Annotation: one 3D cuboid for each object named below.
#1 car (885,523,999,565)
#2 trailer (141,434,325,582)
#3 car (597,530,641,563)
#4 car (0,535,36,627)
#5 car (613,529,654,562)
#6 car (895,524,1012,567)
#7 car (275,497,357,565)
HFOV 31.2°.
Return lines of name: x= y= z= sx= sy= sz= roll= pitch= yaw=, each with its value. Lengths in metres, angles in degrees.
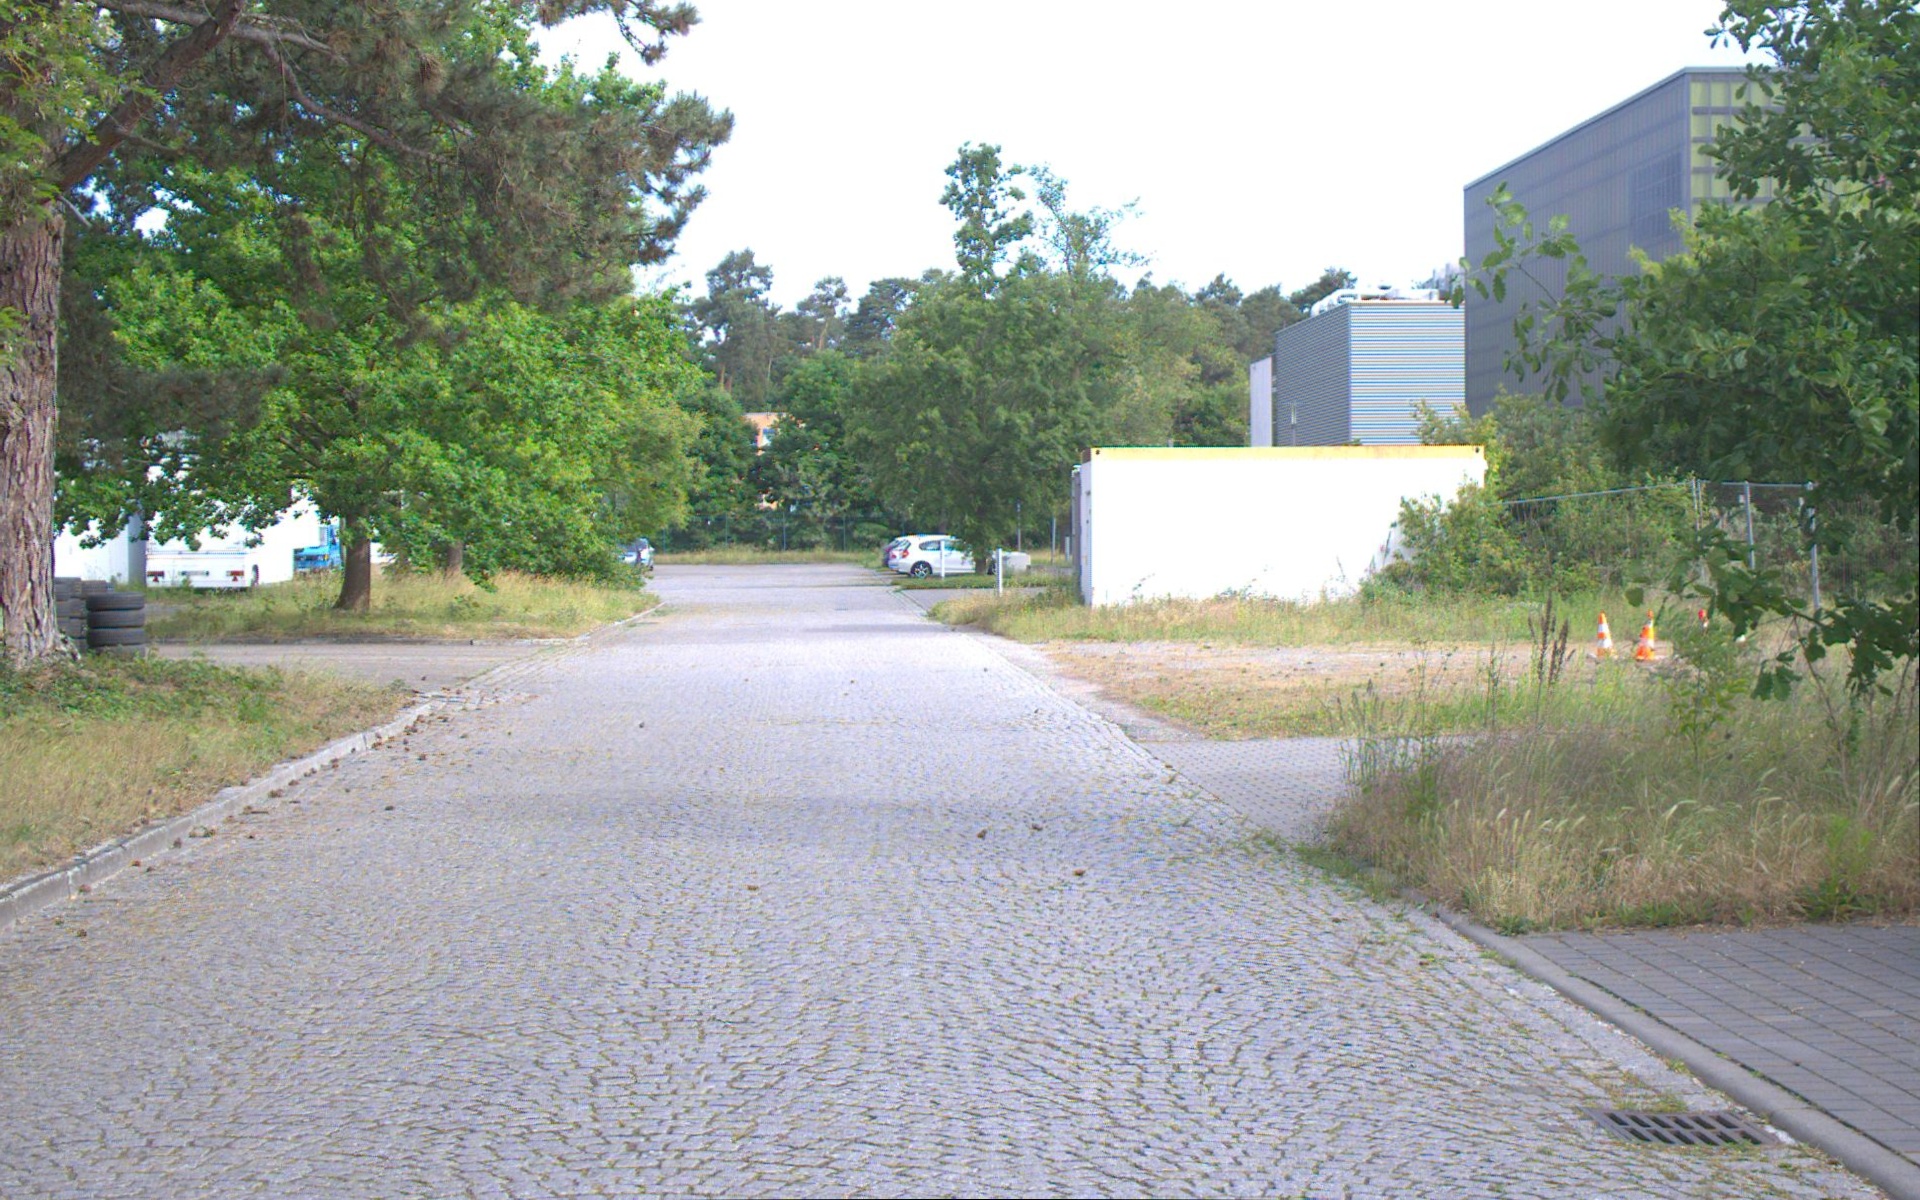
car: x=-0.653 y=-1.984 z=121.663 sx=3.986 sy=1.450 sz=1.697 roll=0 pitch=1 yaw=-2
trailer: x=-19.195 y=-2.407 z=91.426 sx=2.656 sy=3.693 sz=10.722 roll=0 pitch=1 yaw=0
car: x=-14.154 y=-2.240 z=142.947 sx=1.748 sy=1.359 sz=4.001 roll=0 pitch=1 yaw=-5
car: x=-15.906 y=-0.291 z=53.262 sx=1.824 sy=1.427 sz=4.218 roll=0 pitch=1 yaw=3
car: x=-14.527 y=-2.451 z=153.141 sx=1.748 sy=1.449 sz=4.001 roll=0 pitch=1 yaw=-5
car: x=-0.253 y=-1.877 z=119.510 sx=3.986 sy=1.450 sz=2.000 roll=0 pitch=0 yaw=-2
car: x=-24.482 y=-2.629 z=130.924 sx=1.993 sy=2.514 sz=5.618 roll=0 pitch=1 yaw=1
